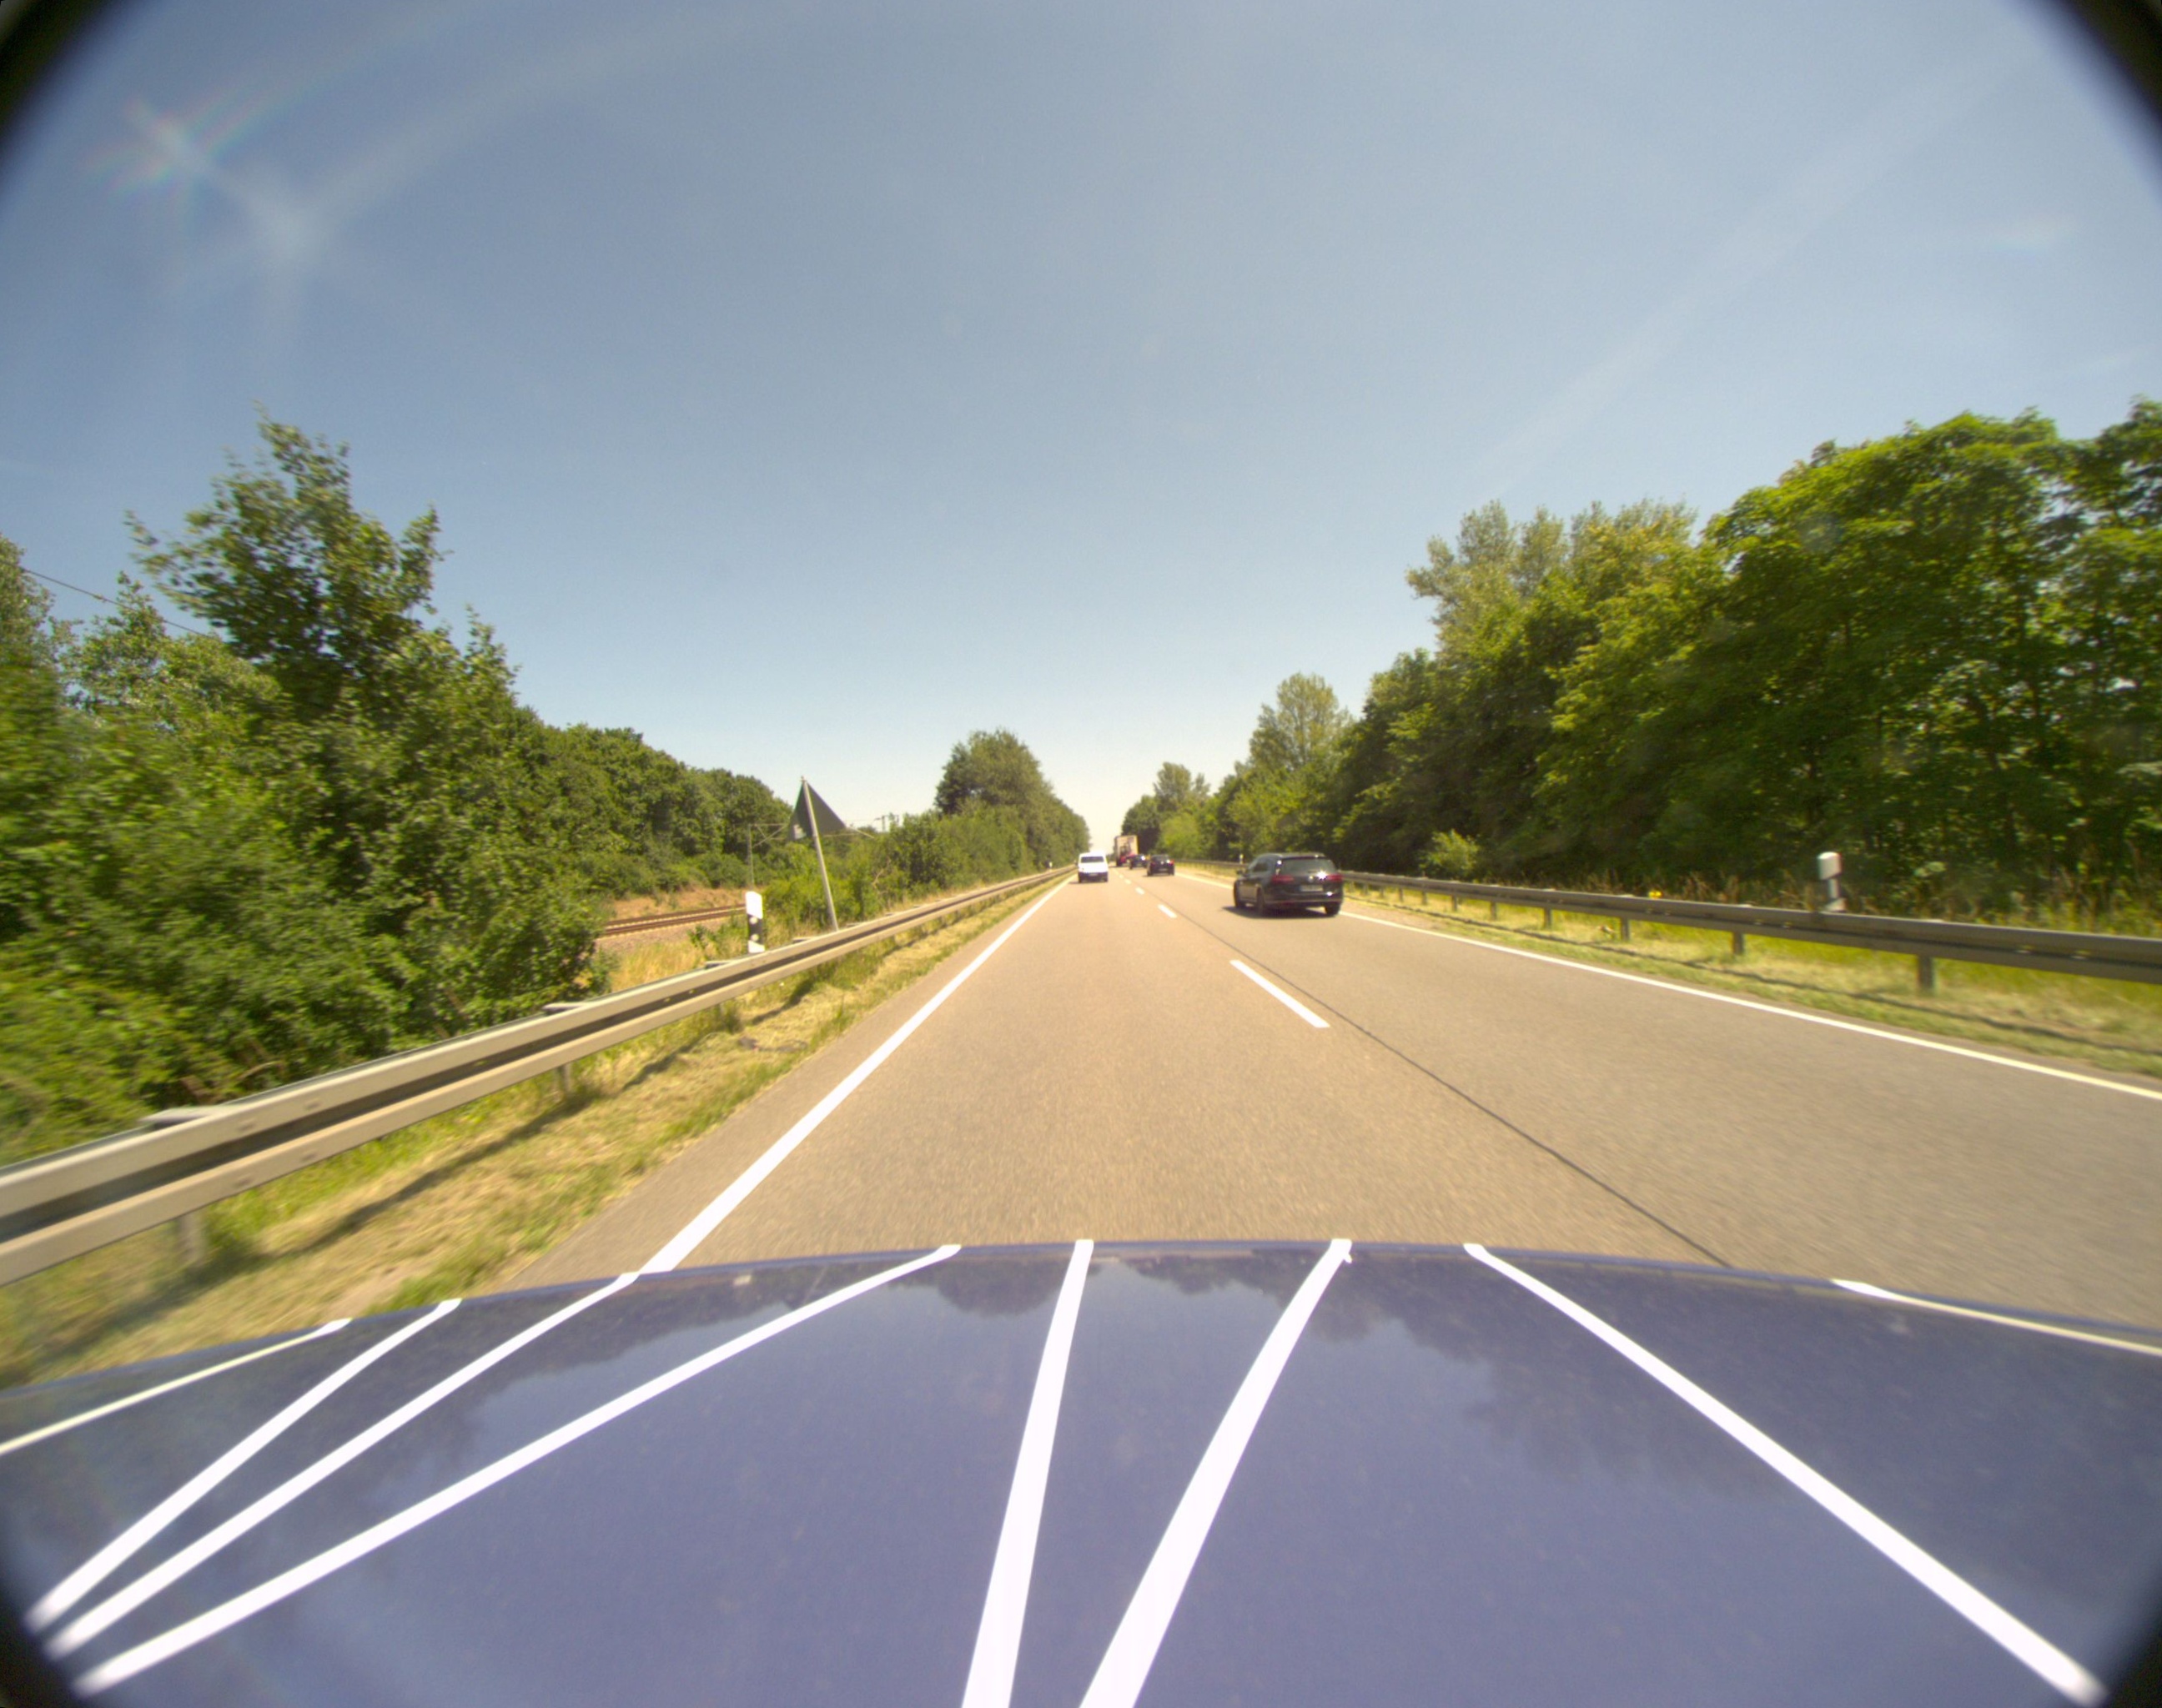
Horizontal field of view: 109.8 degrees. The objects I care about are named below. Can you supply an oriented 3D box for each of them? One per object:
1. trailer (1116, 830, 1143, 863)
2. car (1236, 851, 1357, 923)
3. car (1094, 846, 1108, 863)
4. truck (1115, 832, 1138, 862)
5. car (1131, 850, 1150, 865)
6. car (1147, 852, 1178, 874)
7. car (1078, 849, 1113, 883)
[{"bbox_3d":[6.344,-0.953,102.098,2.770,3.976,13.686,-5,0,1],"label":"trailer"},{"bbox_3d":[5.072,0.708,18.466,1.849,1.488,4.000,-2,0,1],"label":"car"},{"bbox_3d":[2.925,0.069,110.903,1.782,2.286,4.107,-5,-1,2],"label":"car"},{"bbox_3d":[6.547,-0.989,109.322,2.770,3.976,5.907,-5,0,1],"label":"truck"},{"bbox_3d":[6.011,0.333,77.037,1.638,1.429,4.180,-2,0,1],"label":"car"},{"bbox_3d":[5.673,0.595,53.181,1.638,1.429,4.414,-2,0,0],"label":"car"},{"bbox_3d":[0.881,0.674,44.386,1.782,1.743,4.513,-4,-1,2],"label":"car"}]
